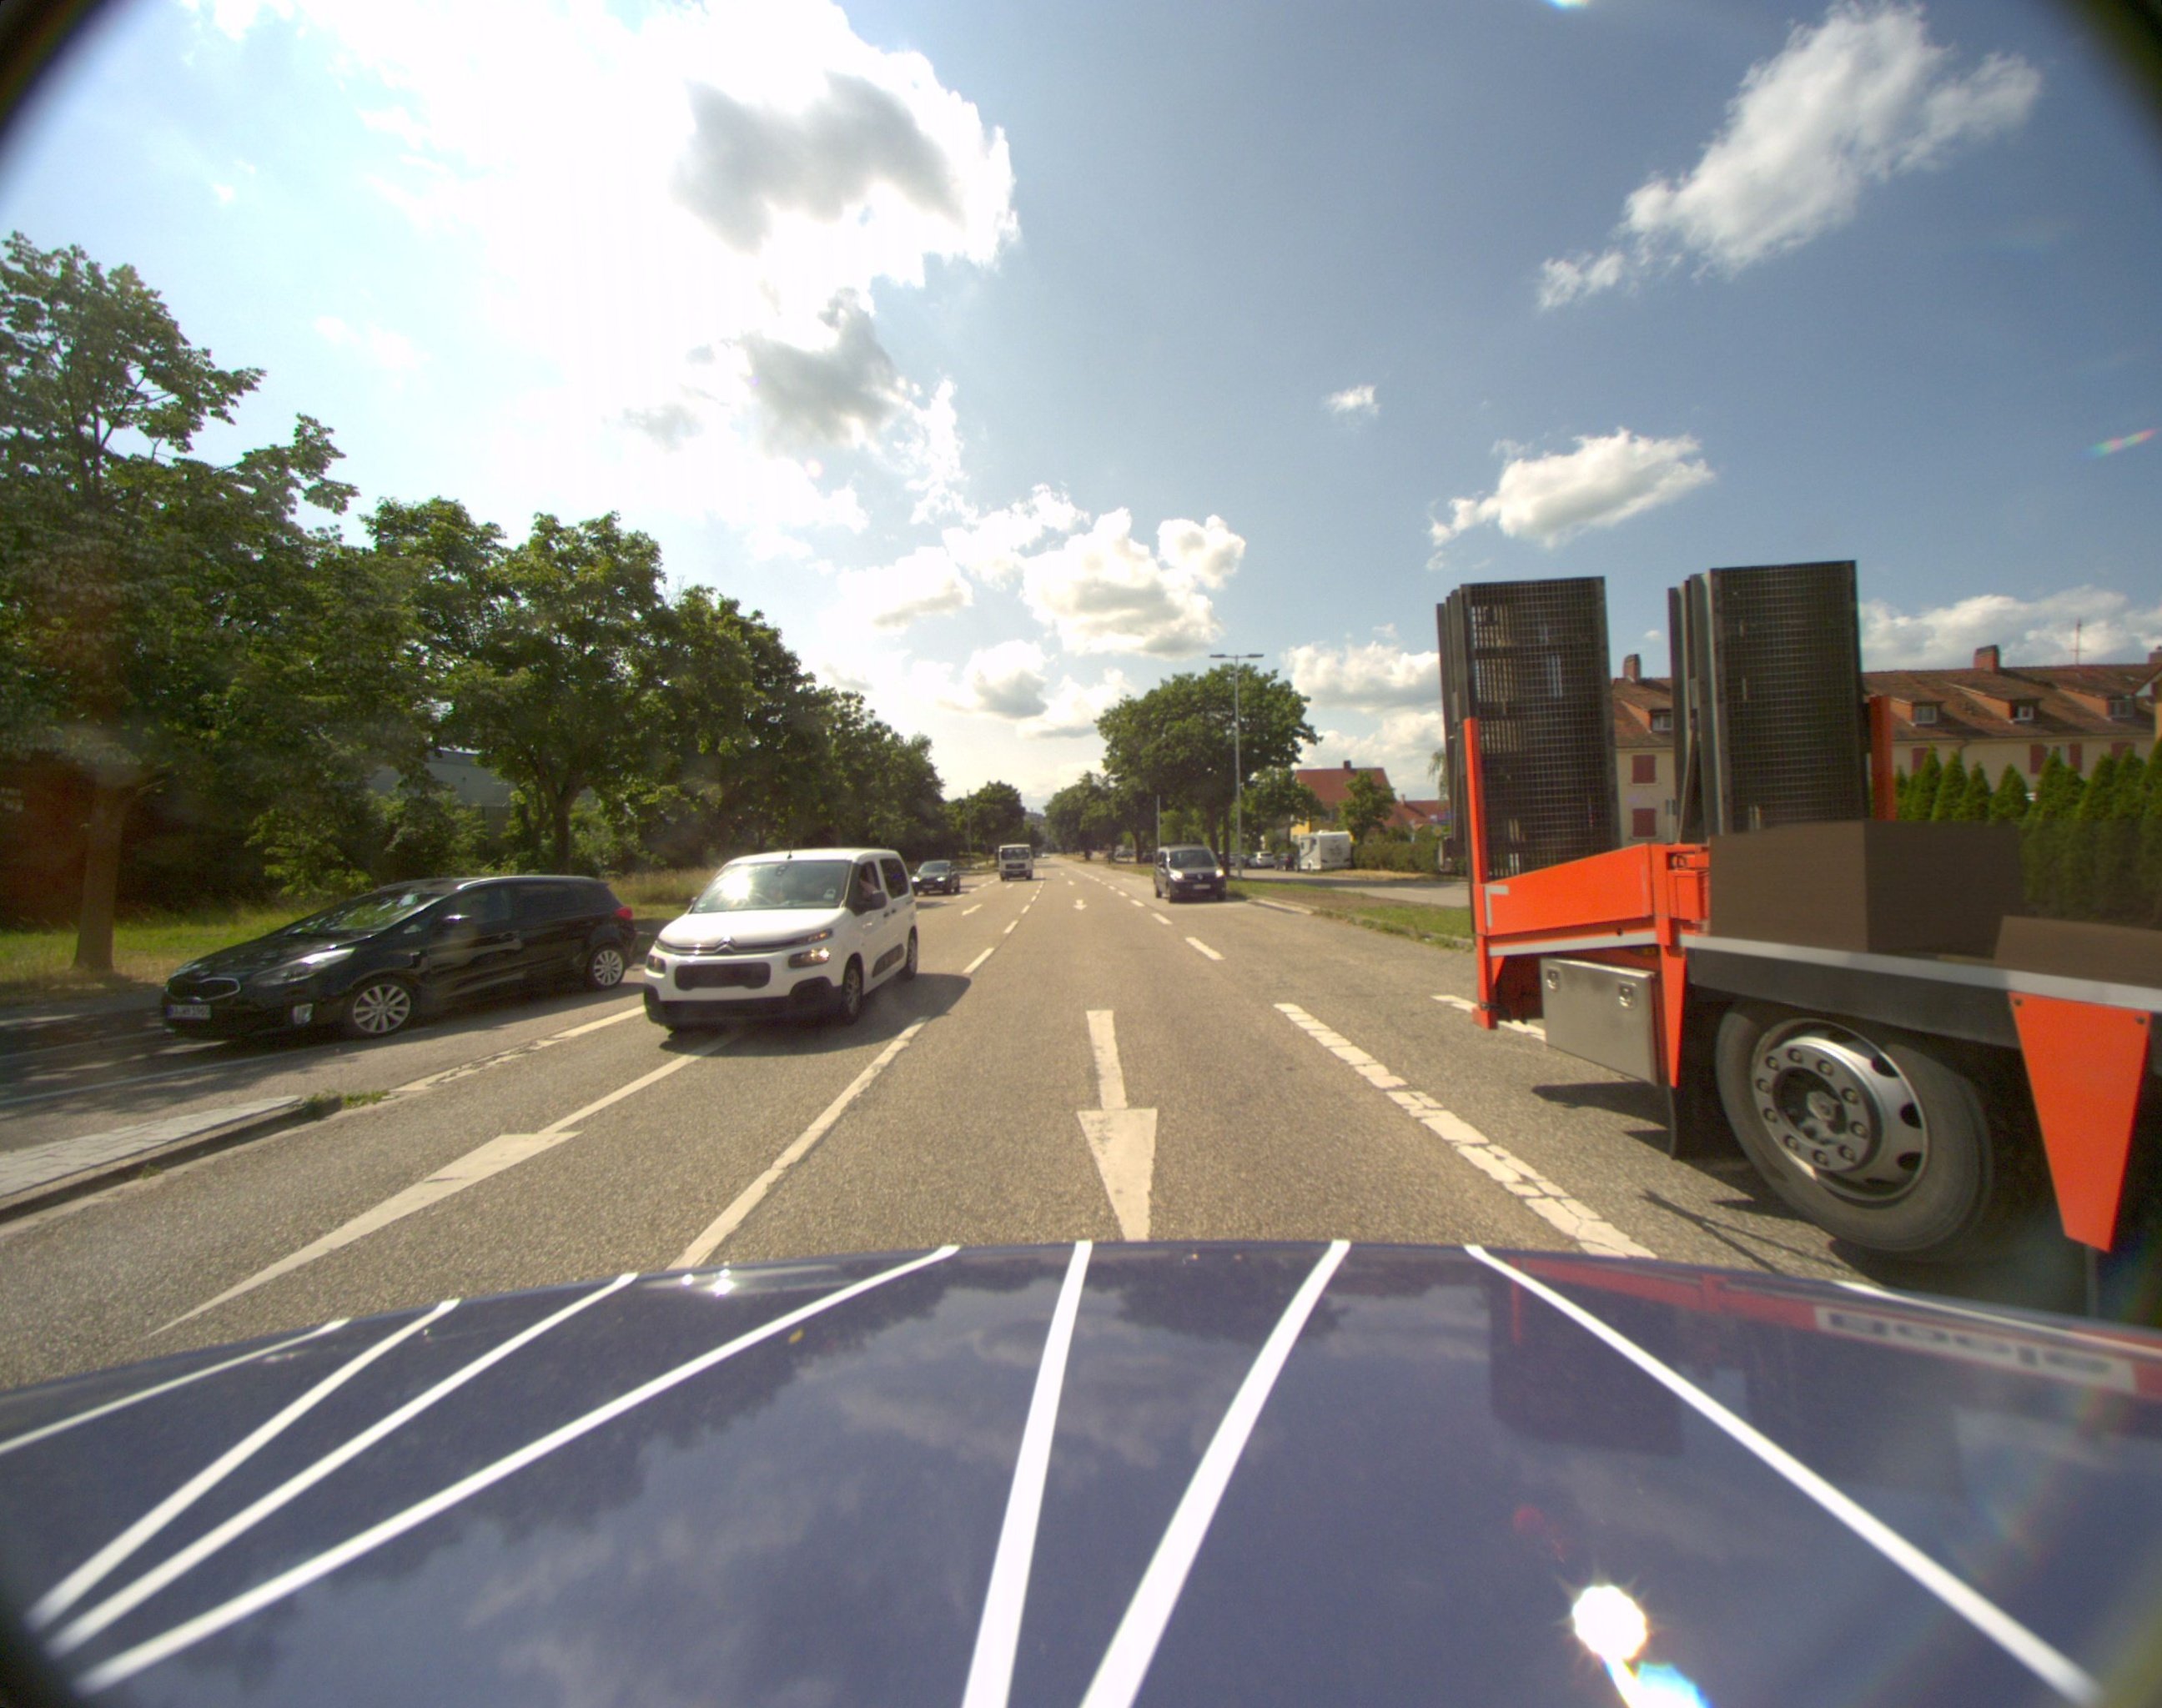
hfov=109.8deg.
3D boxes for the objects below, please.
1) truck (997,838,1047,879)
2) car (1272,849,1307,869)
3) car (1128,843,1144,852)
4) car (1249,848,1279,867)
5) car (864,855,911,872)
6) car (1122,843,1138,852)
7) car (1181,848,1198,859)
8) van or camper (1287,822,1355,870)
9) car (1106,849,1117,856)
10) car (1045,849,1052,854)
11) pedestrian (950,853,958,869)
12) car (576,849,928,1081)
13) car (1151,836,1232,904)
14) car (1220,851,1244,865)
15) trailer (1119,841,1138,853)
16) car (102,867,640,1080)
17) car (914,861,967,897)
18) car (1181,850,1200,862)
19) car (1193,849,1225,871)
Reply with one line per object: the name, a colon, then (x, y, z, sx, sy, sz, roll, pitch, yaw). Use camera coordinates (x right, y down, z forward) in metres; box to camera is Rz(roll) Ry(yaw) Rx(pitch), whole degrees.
truck: (-4.271, 0.231, 56.271, 2.848, 2.649, 7.350, -3, 1, 1)
car: (16.956, 0.386, 61.967, 1.640, 1.477, 3.991, -4, 1, -1)
car: (13.725, -1.743, 190.107, 1.800, 2.002, 4.007, -2, 2, 44)
car: (16.892, 0.302, 70.247, 1.693, 1.477, 4.122, -4, 1, -1)
car: (-18.206, 0.938, 71.635, 4.176, 1.484, 1.783, 1, -1, -8)
car: (12.740, -1.607, 197.950, 1.800, 2.002, 4.007, -2, 2, 44)
car: (16.026, -0.085, 112.848, 1.665, 1.443, 3.844, -4, 1, -4)
van or camper: (17.221, -0.542, 55.033, 2.265, 3.094, 7.318, -4, 0, -2)
car: (6.669, -0.366, 167.196, 1.738, 1.499, 4.649, 1, 1, -6)
car: (-9.026, -0.725, 212.019, 1.892, 1.281, 3.998, -4, 1, -4)
pedestrian: (-14.836, 0.813, 88.703, 0.719, 1.784, 0.739, -4, 2, -4)
car: (-3.153, 0.897, 8.571, 1.936, 1.775, 4.714, -4, 0, -2)
car: (3.483, 0.432, 24.741, 1.768, 1.893, 4.539, -4, 1, -1)
car: (16.346, 0.426, 82.268, 1.515, 1.362, 4.530, -4, 0, -1)
trailer: (13.456, -2.101, 215.148, 2.821, 3.090, 5.763, -3, 1, 35)
car: (-7.555, 1.119, 8.824, 1.769, 1.640, 4.240, -3, 1, 10)
car: (-6.893, 1.182, 37.679, 1.758, 1.482, 3.999, -3, 1, 1)
car: (15.189, 0.283, 105.394, 1.665, 1.473, 4.102, -4, 0, -4)
car: (10.296, 0.431, 61.298, 1.799, 1.679, 3.999, -1, 1, -1)
